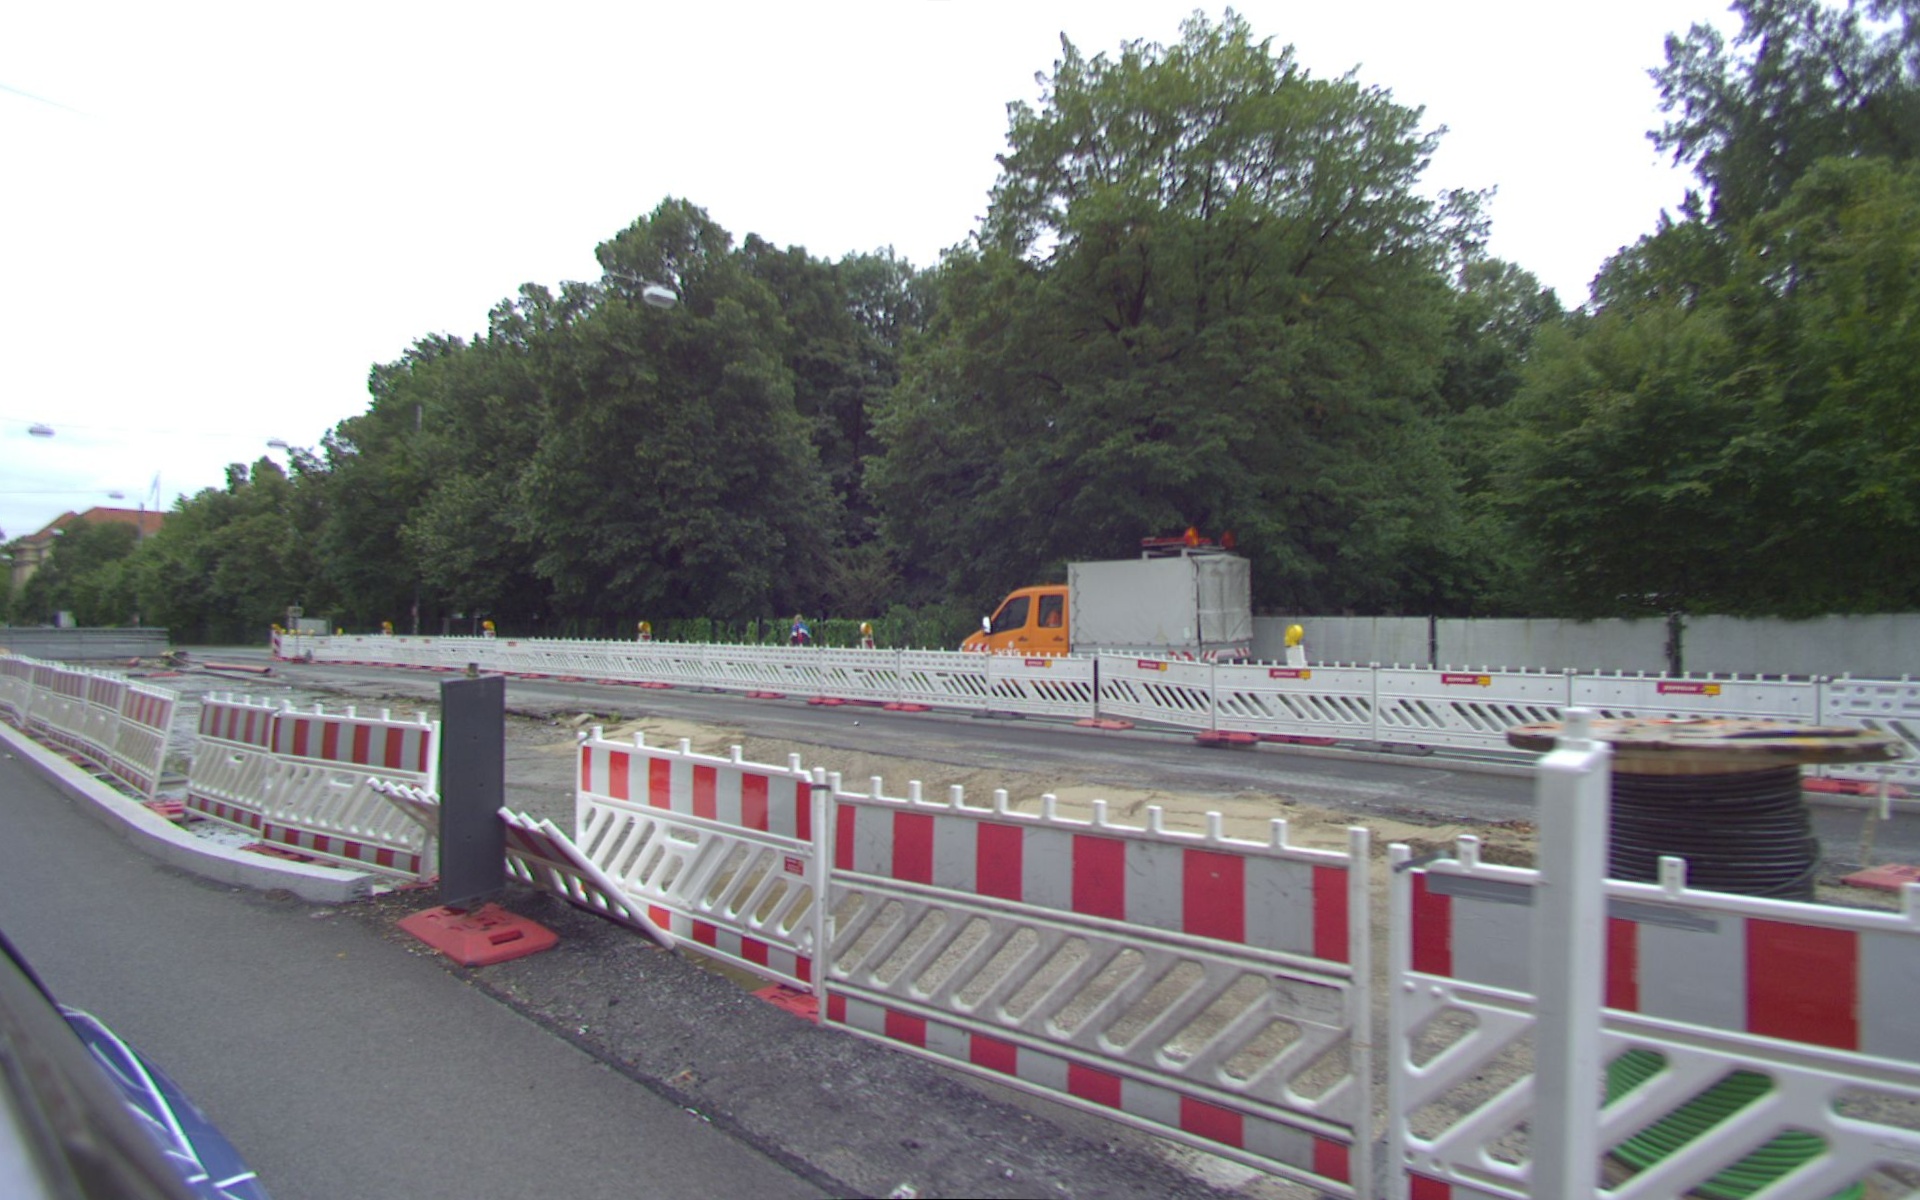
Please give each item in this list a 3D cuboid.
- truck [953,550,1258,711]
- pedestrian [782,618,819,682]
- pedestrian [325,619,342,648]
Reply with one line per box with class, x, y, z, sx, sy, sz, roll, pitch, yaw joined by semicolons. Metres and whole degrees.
truck;2.680;0.604;19.973;5.869;2.749;1.972;-2;-3;42
pedestrian;-4.091;1.284;26.018;0.698;1.615;0.656;-2;-2;42
pedestrian;-35.273;1.878;56.973;0.698;1.653;0.656;-2;-2;42
